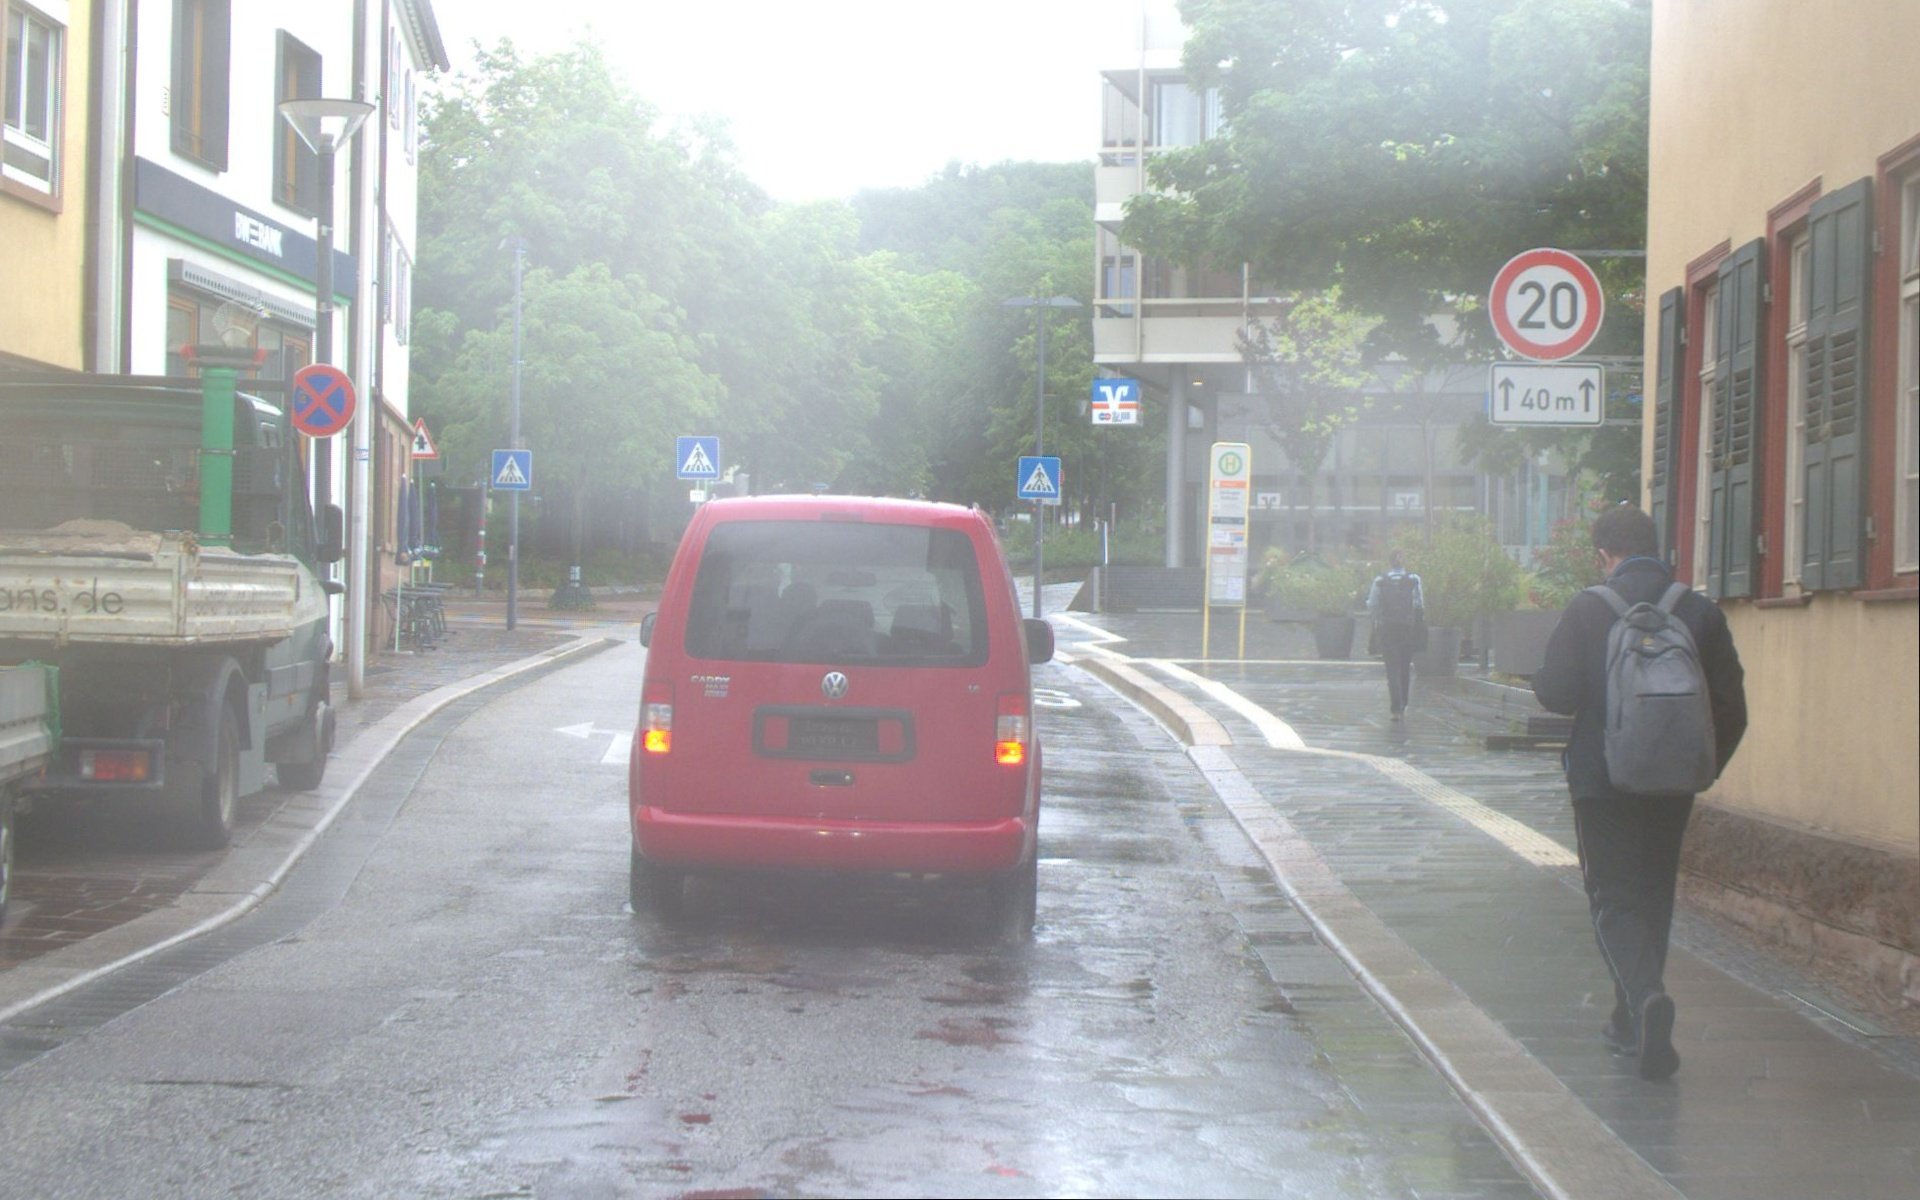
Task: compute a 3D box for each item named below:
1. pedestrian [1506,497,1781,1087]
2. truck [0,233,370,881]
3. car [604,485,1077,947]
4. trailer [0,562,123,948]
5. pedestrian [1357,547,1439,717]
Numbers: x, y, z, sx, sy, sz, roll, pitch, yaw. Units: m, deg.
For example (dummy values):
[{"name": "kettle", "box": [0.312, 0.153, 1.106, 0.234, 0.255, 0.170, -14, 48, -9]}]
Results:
[{"name": "pedestrian", "box": [2.033, 0.542, 10.320, 0.714, 1.687, 0.867, 1, 1, 6]}, {"name": "truck", "box": [-4.689, -0.276, 18.048, 2.473, 2.785, 6.601, 0, 2, -4]}, {"name": "car", "box": [-0.573, 0.446, 15.833, 1.862, 1.824, 4.185, 1, 0, -3]}, {"name": "trailer", "box": [-4.370, 0.551, 13.216, 1.727, 1.342, 3.161, 0, 2, -4]}, {"name": "pedestrian", "box": [4.172, 0.300, 32.789, 0.728, 1.611, 0.693, 0, 0, 4]}]
